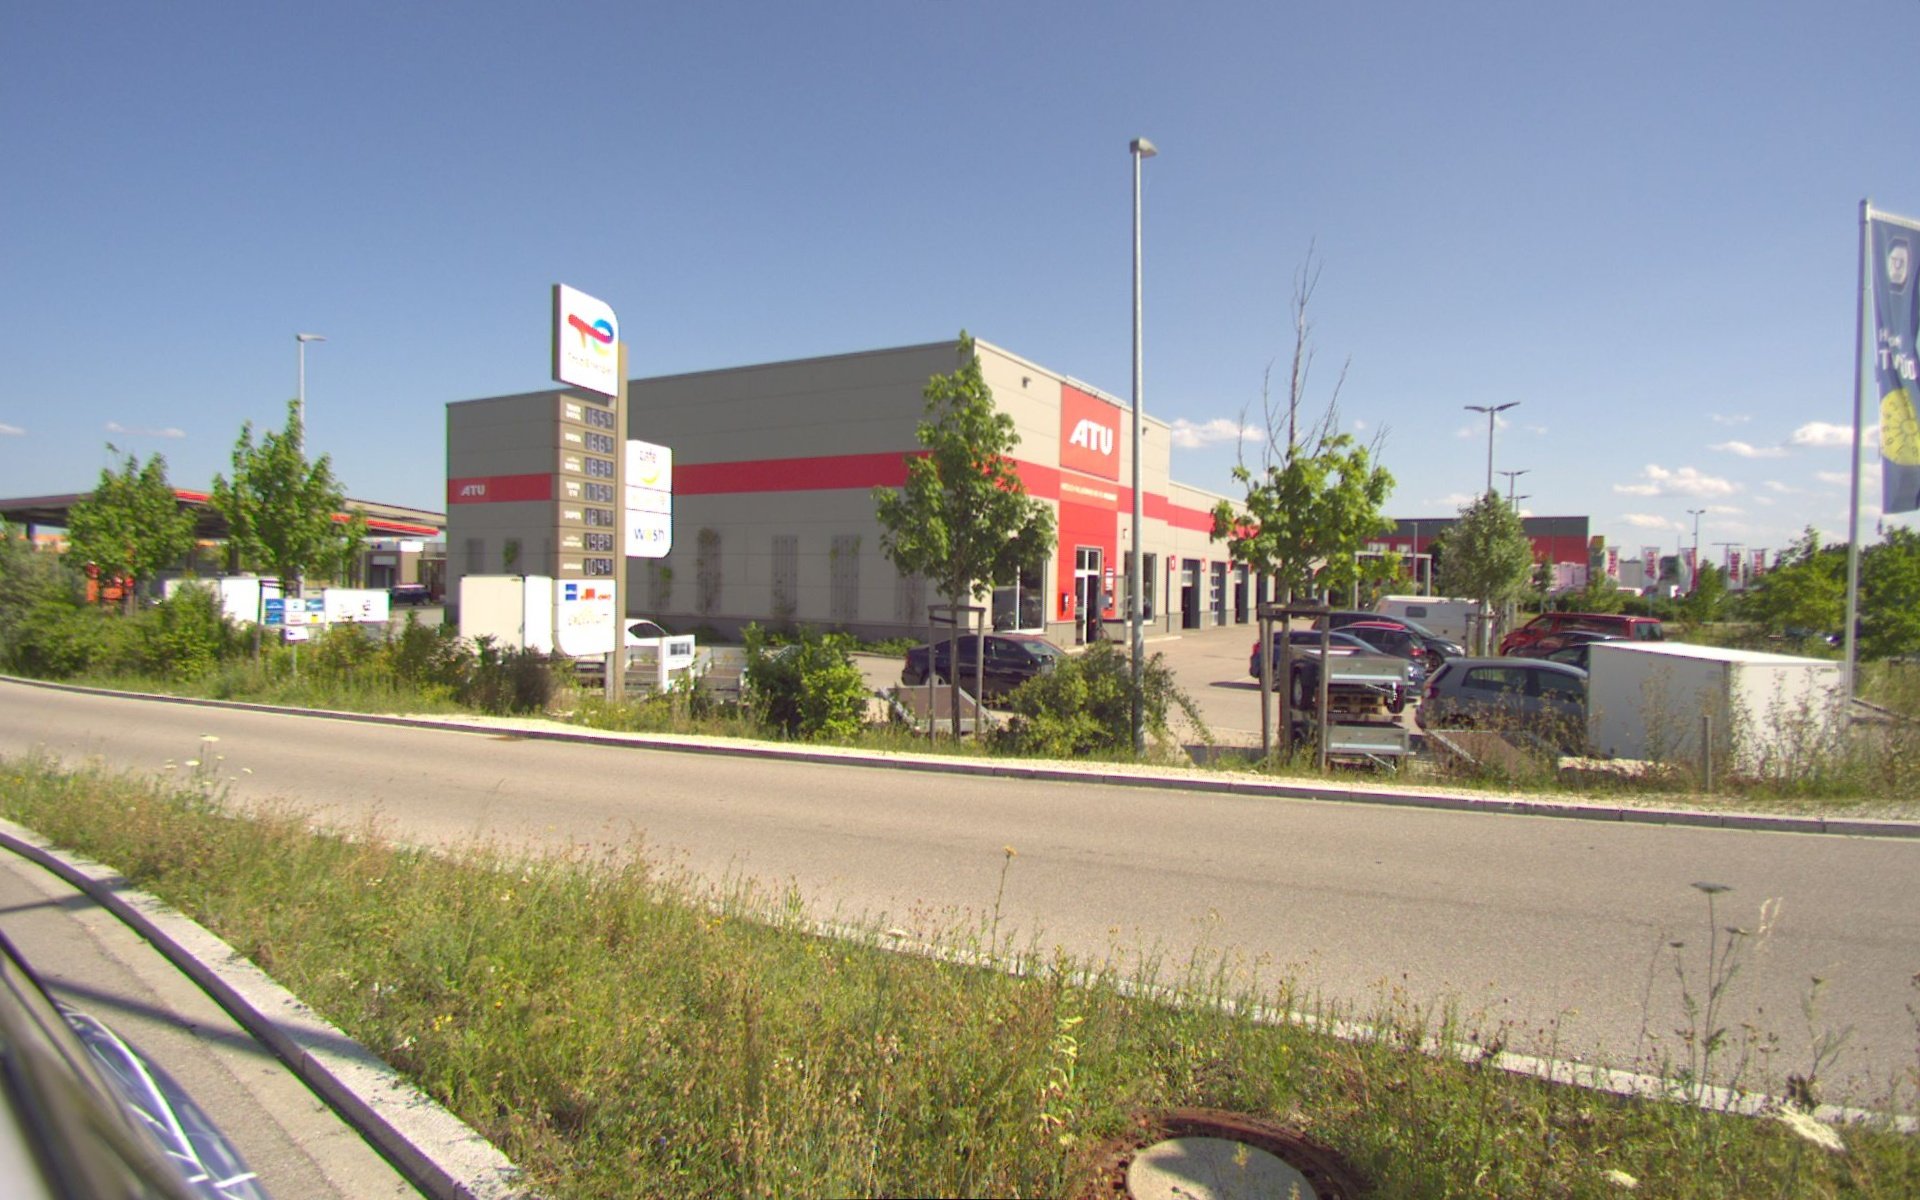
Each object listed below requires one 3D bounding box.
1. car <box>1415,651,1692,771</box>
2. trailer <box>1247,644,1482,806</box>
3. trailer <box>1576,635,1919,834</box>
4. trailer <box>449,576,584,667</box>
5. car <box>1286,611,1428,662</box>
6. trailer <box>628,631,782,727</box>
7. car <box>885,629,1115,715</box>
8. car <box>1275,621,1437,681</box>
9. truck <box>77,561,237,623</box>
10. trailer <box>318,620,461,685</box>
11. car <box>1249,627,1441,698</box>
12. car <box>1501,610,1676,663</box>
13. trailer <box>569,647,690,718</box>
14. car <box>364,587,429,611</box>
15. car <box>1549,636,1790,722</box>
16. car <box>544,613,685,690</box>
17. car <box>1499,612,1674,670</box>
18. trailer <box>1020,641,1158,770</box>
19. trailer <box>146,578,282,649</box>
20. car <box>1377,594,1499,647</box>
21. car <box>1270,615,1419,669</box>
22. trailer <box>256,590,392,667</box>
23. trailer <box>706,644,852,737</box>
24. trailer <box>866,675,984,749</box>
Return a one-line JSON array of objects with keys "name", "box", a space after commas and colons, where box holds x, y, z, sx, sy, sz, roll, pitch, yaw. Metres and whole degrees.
[{"name": "car", "box": [9.571, 1.707, 16.549, 3.731, 1.563, 1.725, 0, 1, 32]}, {"name": "trailer", "box": [5.535, 1.630, 14.369, 1.782, 1.785, 3.697, 0, 1, -1]}, {"name": "trailer", "box": [9.639, 1.479, 12.460, 1.782, 1.785, 3.698, -1, 2, -1]}, {"name": "trailer", "box": [-10.595, 0.470, 24.416, 1.724, 2.029, 3.238, 0, 1, 2]}, {"name": "car", "box": [12.865, 1.140, 32.861, 3.990, 1.475, 1.804, 0, 1, 34]}, {"name": "trailer", "box": [-4.639, 1.385, 18.835, 1.533, 1.495, 3.179, 0, 1, 12]}, {"name": "car", "box": [0.767, 1.397, 20.839, 4.486, 1.495, 1.783, 0, 0, 34]}, {"name": "car", "box": [11.194, 1.397, 28.685, 3.990, 1.475, 1.804, 0, 1, 34]}, {"name": "truck", "box": [-46.418, -0.483, 58.772, 2.624, 3.343, 6.854, 0, 1, 22]}, {"name": "trailer", "box": [-15.325, 1.374, 27.402, 1.580, 1.521, 3.594, -1, 1, 6]}, {"name": "car", "box": [8.991, 1.409, 23.679, 3.983, 1.475, 1.807, 0, -2, 29]}, {"name": "car", "box": [19.912, 1.100, 32.296, 1.794, 1.475, 4.470, -1, 1, -25]}, {"name": "trailer", "box": [-6.242, 1.525, 19.363, 1.303, 1.094, 2.773, 0, 1, 3]}, {"name": "car", "box": [-39.685, -0.094, 71.365, 1.694, 1.586, 3.637, 0, 1, 39]}, {"name": "car", "box": [15.795, 1.702, 22.775, 1.794, 1.475, 4.014, 2, 1, -25]}, {"name": "car", "box": [-7.951, 1.140, 23.688, 1.697, 1.548, 3.995, 0, 1, 4]}, {"name": "car", "box": [18.174, 1.139, 29.548, 1.794, 1.475, 4.013, -1, 1, -25]}, {"name": "trailer", "box": [1.955, 1.585, 16.310, 1.684, 1.462, 3.698, 0, 3, -1]}, {"name": "trailer", "box": [-22.563, 0.373, 30.764, 1.969, 2.029, 3.211, -1, 1, -6]}, {"name": "car", "box": [19.276, 0.782, 40.842, 4.332, 2.029, 1.884, 0, 1, 30]}, {"name": "car", "box": [11.831, 1.257, 31.199, 3.990, 1.475, 1.804, 0, 1, 34]}, {"name": "trailer", "box": [-17.793, 0.758, 28.433, 1.975, 2.029, 2.732, 0, 1, 6]}, {"name": "trailer", "box": [-3.121, 1.534, 17.939, 1.378, 1.332, 2.895, 0, 1, 17]}, {"name": "trailer", "box": [-0.527, 1.851, 17.140, 1.841, 0.888, 2.837, 0, 1, 1]}]
